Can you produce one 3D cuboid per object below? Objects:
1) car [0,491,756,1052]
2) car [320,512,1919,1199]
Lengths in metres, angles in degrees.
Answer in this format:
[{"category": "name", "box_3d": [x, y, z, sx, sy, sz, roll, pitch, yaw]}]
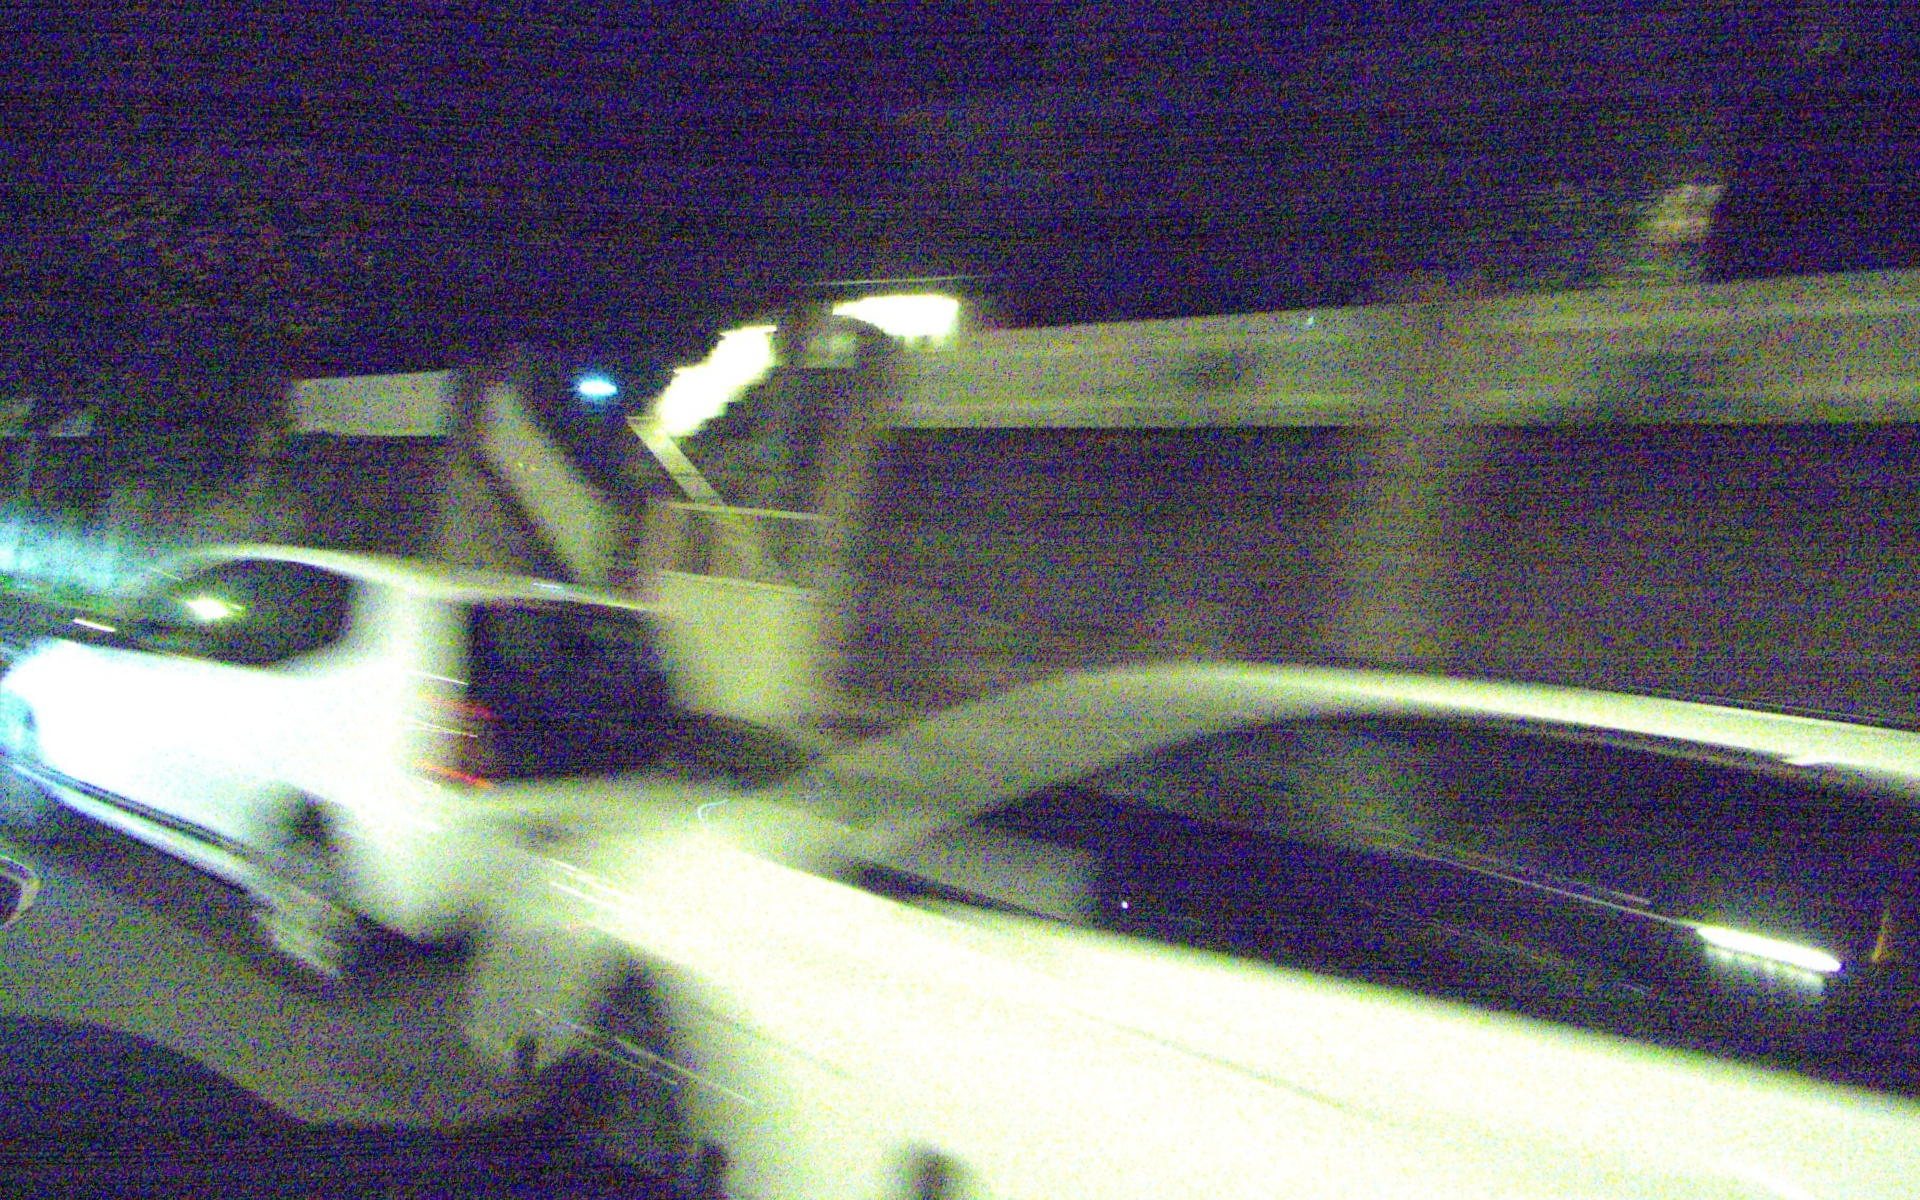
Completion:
[{"category": "car", "box_3d": [-2.925, 0.453, 4.633, 3.654, 1.480, 1.610, 8, 1, 31]}, {"category": "car", "box_3d": [0.777, 0.883, 2.229, 4.650, 1.611, 1.759, 7, -3, 33]}]
